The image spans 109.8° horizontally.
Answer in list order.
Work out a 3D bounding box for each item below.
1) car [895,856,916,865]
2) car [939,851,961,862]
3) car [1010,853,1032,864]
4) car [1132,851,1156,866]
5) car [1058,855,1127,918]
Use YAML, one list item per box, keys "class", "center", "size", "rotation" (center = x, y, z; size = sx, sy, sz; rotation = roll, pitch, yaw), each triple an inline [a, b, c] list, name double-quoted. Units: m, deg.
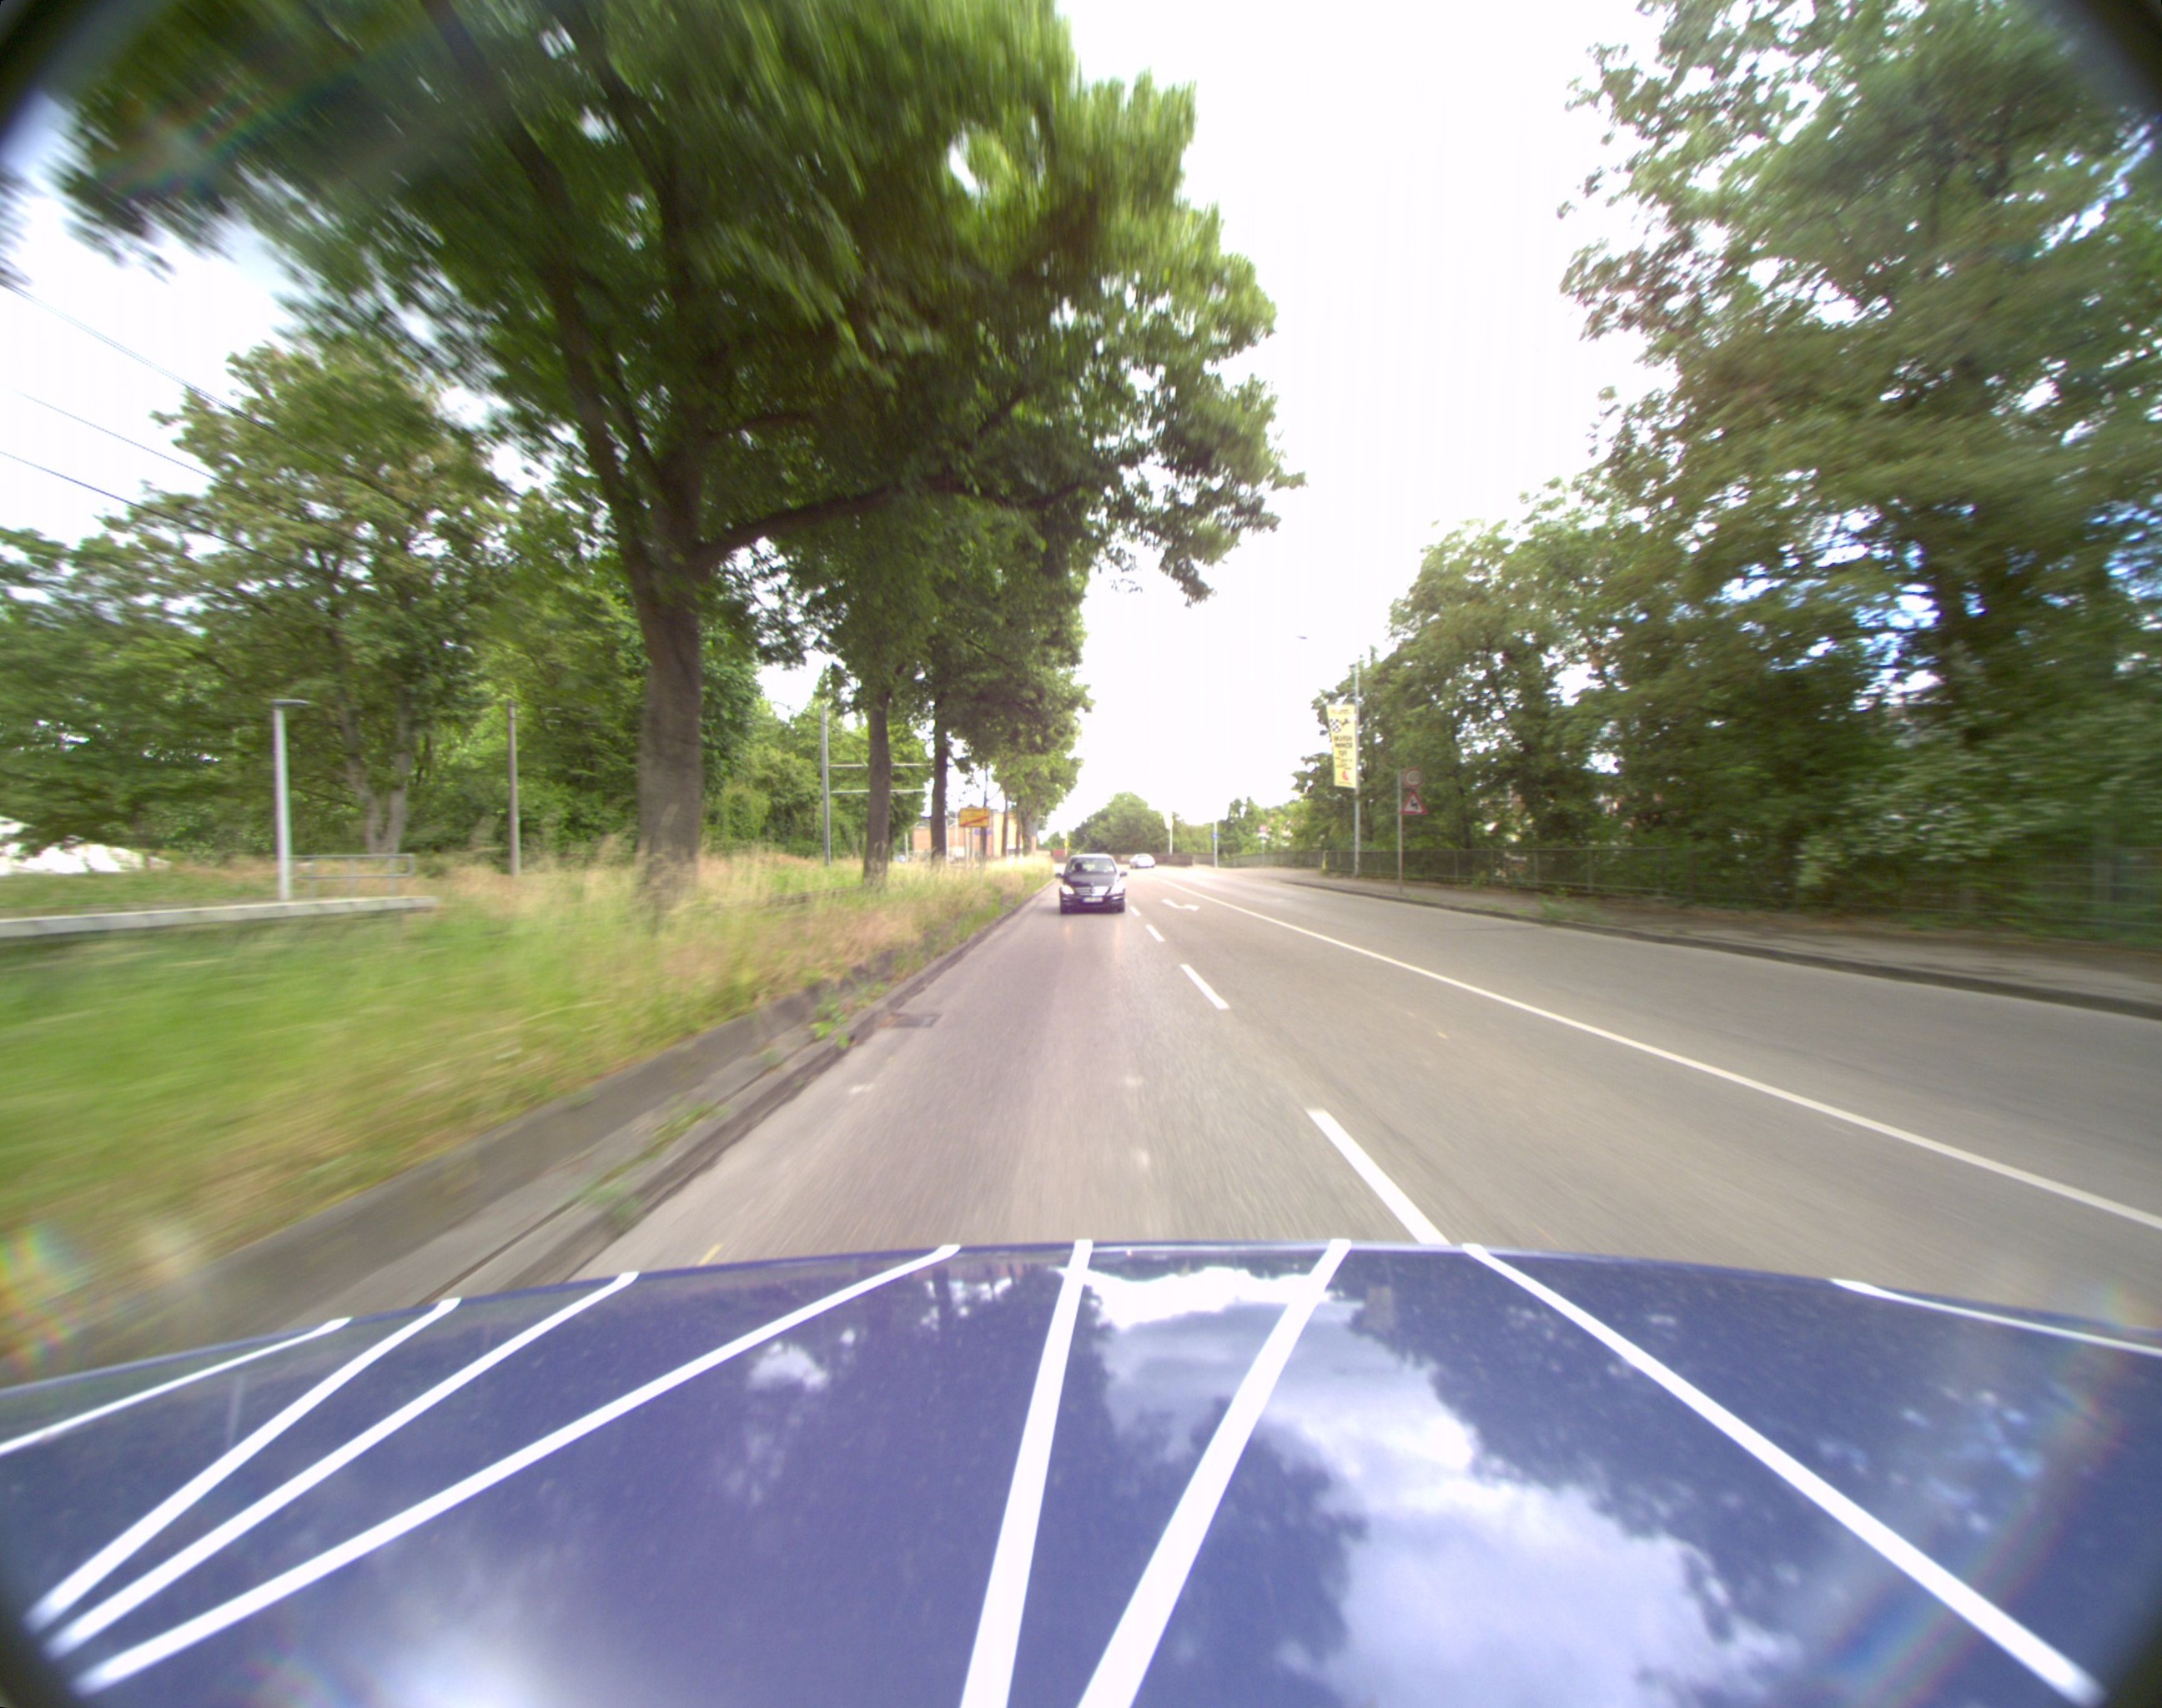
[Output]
- class: "car"
  center: [-30.530, 1.139, 132.406]
  size: [3.686, 1.477, 1.588]
  rotation: [-3, 1, 39]
- class: "car"
  center: [-21.599, 0.376, 124.902]
  size: [1.728, 1.598, 4.003]
  rotation: [-3, 1, -38]
- class: "car"
  center: [-8.696, 0.684, 109.906]
  size: [1.588, 1.457, 3.688]
  rotation: [-2, 0, -29]
- class: "car"
  center: [5.831, 0.382, 70.612]
  size: [1.763, 1.329, 3.695]
  rotation: [-2, 0, -2]
- class: "car"
  center: [0.236, 0.835, 21.803]
  size: [1.751, 1.556, 4.073]
  rotation: [-2, 1, -2]
